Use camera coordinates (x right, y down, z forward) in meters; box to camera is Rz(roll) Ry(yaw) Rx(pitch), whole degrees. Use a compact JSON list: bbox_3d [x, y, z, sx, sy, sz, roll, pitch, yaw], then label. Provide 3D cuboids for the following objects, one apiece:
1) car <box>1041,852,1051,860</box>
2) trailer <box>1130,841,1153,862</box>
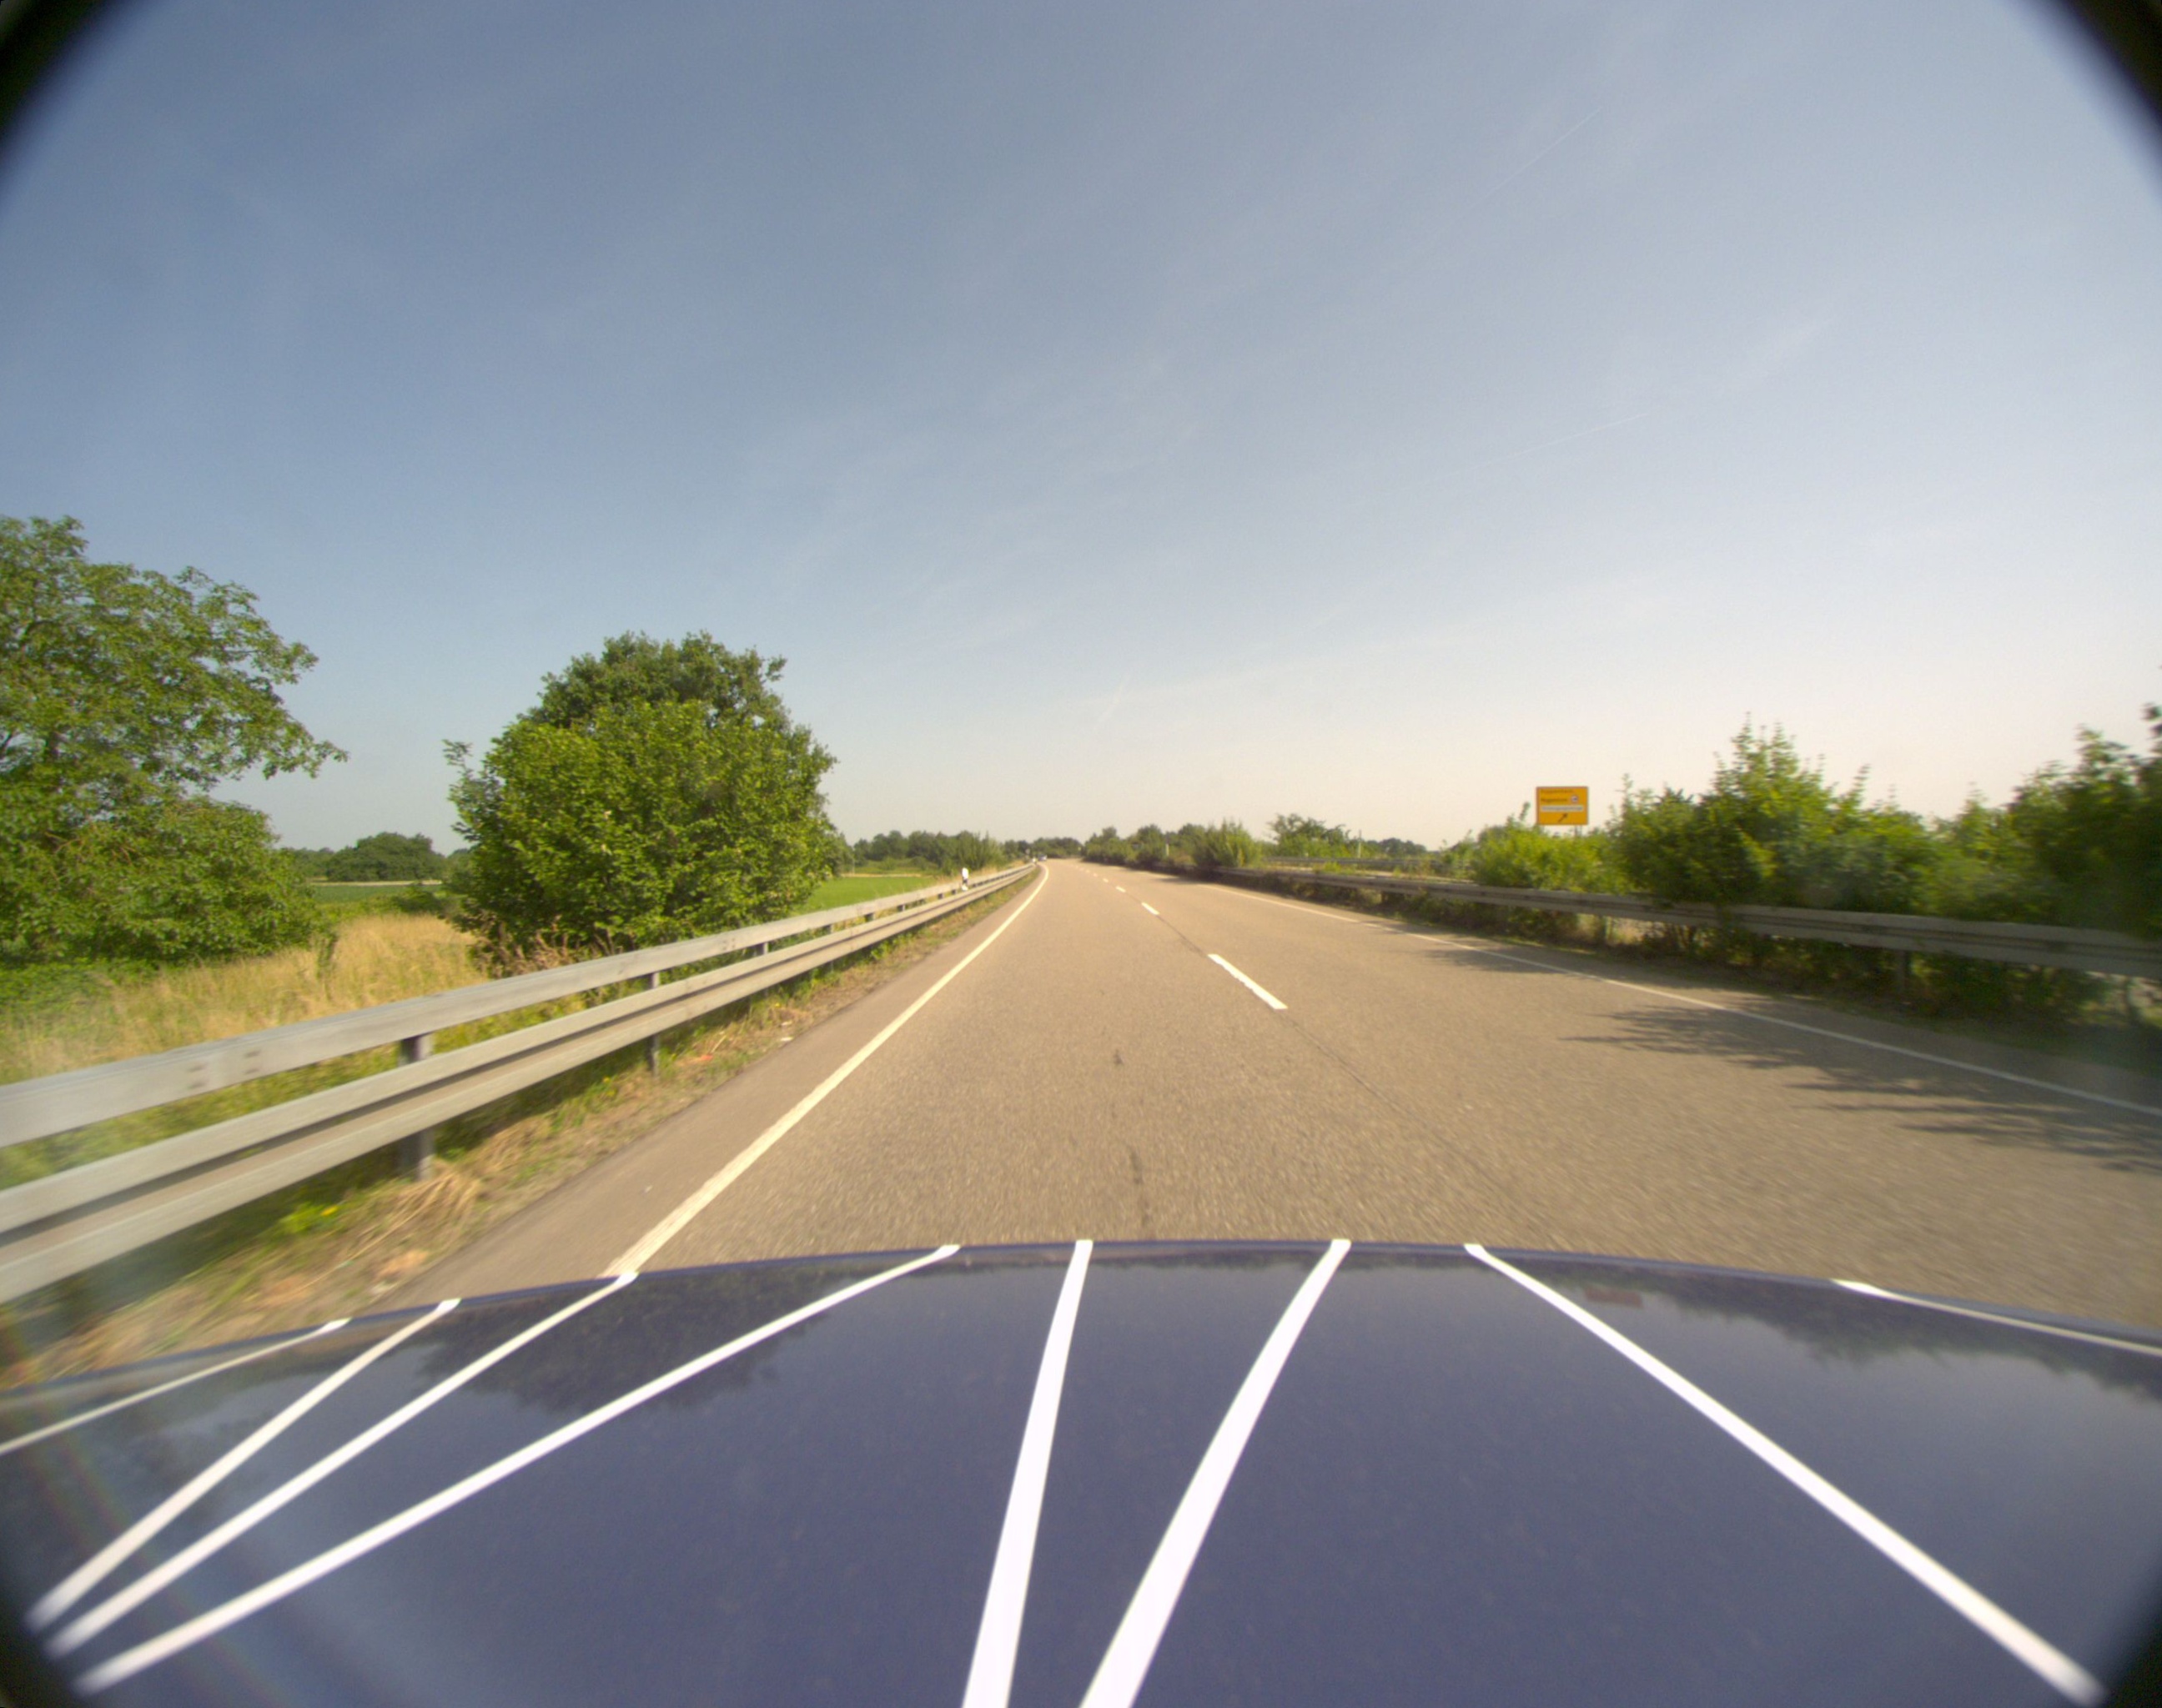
[{"bbox_3d":[-7.819,0.450,168.592,1.704,1.474,3.597,-3,-1,-12],"label":"car"},{"bbox_3d":[10.454,-0.427,132.531,1.999,3.356,13.422,-2,0,-3],"label":"trailer"}]
